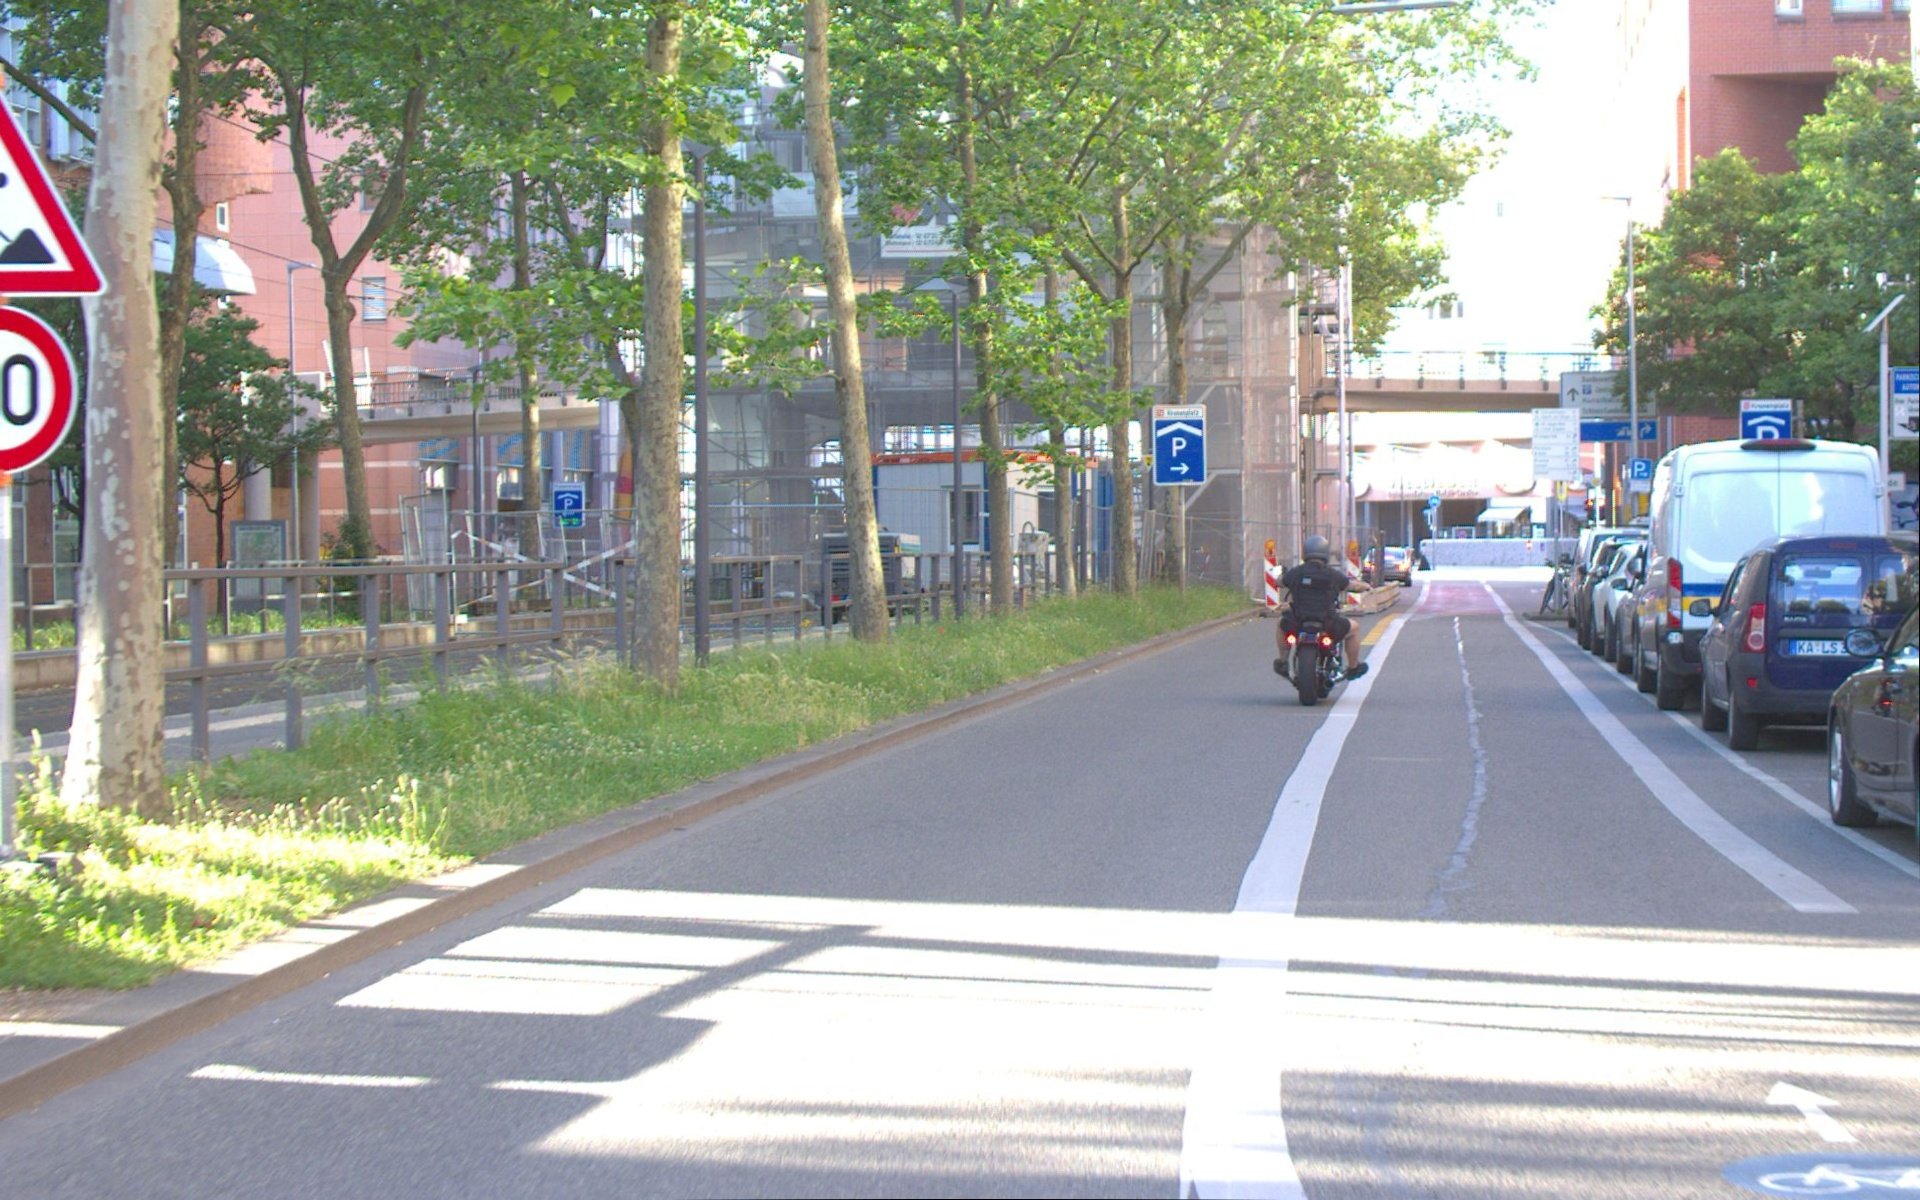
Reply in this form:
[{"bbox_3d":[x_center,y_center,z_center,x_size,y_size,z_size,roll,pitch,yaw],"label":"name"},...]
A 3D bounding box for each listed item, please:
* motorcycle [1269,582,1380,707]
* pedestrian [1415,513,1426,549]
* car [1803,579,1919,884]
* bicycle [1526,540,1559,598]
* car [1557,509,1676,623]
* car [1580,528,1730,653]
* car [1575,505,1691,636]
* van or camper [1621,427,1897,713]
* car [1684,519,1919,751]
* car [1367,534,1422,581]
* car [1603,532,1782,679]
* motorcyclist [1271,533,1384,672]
[{"bbox_3d":[3.442,0.405,32.594,1.018,1.093,2.007,0,2,5],"label":"motorcycle"},{"bbox_3d":[24.094,-3.603,179.959,0.541,1.875,0.529,0,1,6],"label":"pedestrian"},{"bbox_3d":[5.307,0.588,17.041,1.620,1.298,4.311,0,1,6],"label":"car"},{"bbox_3d":[12.625,-0.681,74.536,0.664,1.230,2.227,0,1,9],"label":"bicycle"},{"bbox_3d":[11.973,-0.660,62.921,1.836,2.007,4.387,0,1,7],"label":"car"},{"bbox_3d":[9.378,-0.164,46.616,1.620,1.604,3.774,0,1,6],"label":"car"},{"bbox_3d":[9.946,-0.467,50.997,1.621,1.859,3.773,0,1,10],"label":"car"},{"bbox_3d":[7.652,-0.334,33.432,2.049,2.532,5.771,0,1,7],"label":"van or camper"},{"bbox_3d":[6.597,0.197,26.447,1.620,1.614,4.484,0,1,7],"label":"car"},{"bbox_3d":[16.348,-1.610,129.484,1.852,1.711,4.000,0,1,4],"label":"car"},{"bbox_3d":[8.456,0.024,39.945,1.620,1.597,3.774,0,1,6],"label":"car"},{"bbox_3d":[3.464,0.013,32.468,1.012,1.258,0.774,2,2,5],"label":"motorcyclist"}]
